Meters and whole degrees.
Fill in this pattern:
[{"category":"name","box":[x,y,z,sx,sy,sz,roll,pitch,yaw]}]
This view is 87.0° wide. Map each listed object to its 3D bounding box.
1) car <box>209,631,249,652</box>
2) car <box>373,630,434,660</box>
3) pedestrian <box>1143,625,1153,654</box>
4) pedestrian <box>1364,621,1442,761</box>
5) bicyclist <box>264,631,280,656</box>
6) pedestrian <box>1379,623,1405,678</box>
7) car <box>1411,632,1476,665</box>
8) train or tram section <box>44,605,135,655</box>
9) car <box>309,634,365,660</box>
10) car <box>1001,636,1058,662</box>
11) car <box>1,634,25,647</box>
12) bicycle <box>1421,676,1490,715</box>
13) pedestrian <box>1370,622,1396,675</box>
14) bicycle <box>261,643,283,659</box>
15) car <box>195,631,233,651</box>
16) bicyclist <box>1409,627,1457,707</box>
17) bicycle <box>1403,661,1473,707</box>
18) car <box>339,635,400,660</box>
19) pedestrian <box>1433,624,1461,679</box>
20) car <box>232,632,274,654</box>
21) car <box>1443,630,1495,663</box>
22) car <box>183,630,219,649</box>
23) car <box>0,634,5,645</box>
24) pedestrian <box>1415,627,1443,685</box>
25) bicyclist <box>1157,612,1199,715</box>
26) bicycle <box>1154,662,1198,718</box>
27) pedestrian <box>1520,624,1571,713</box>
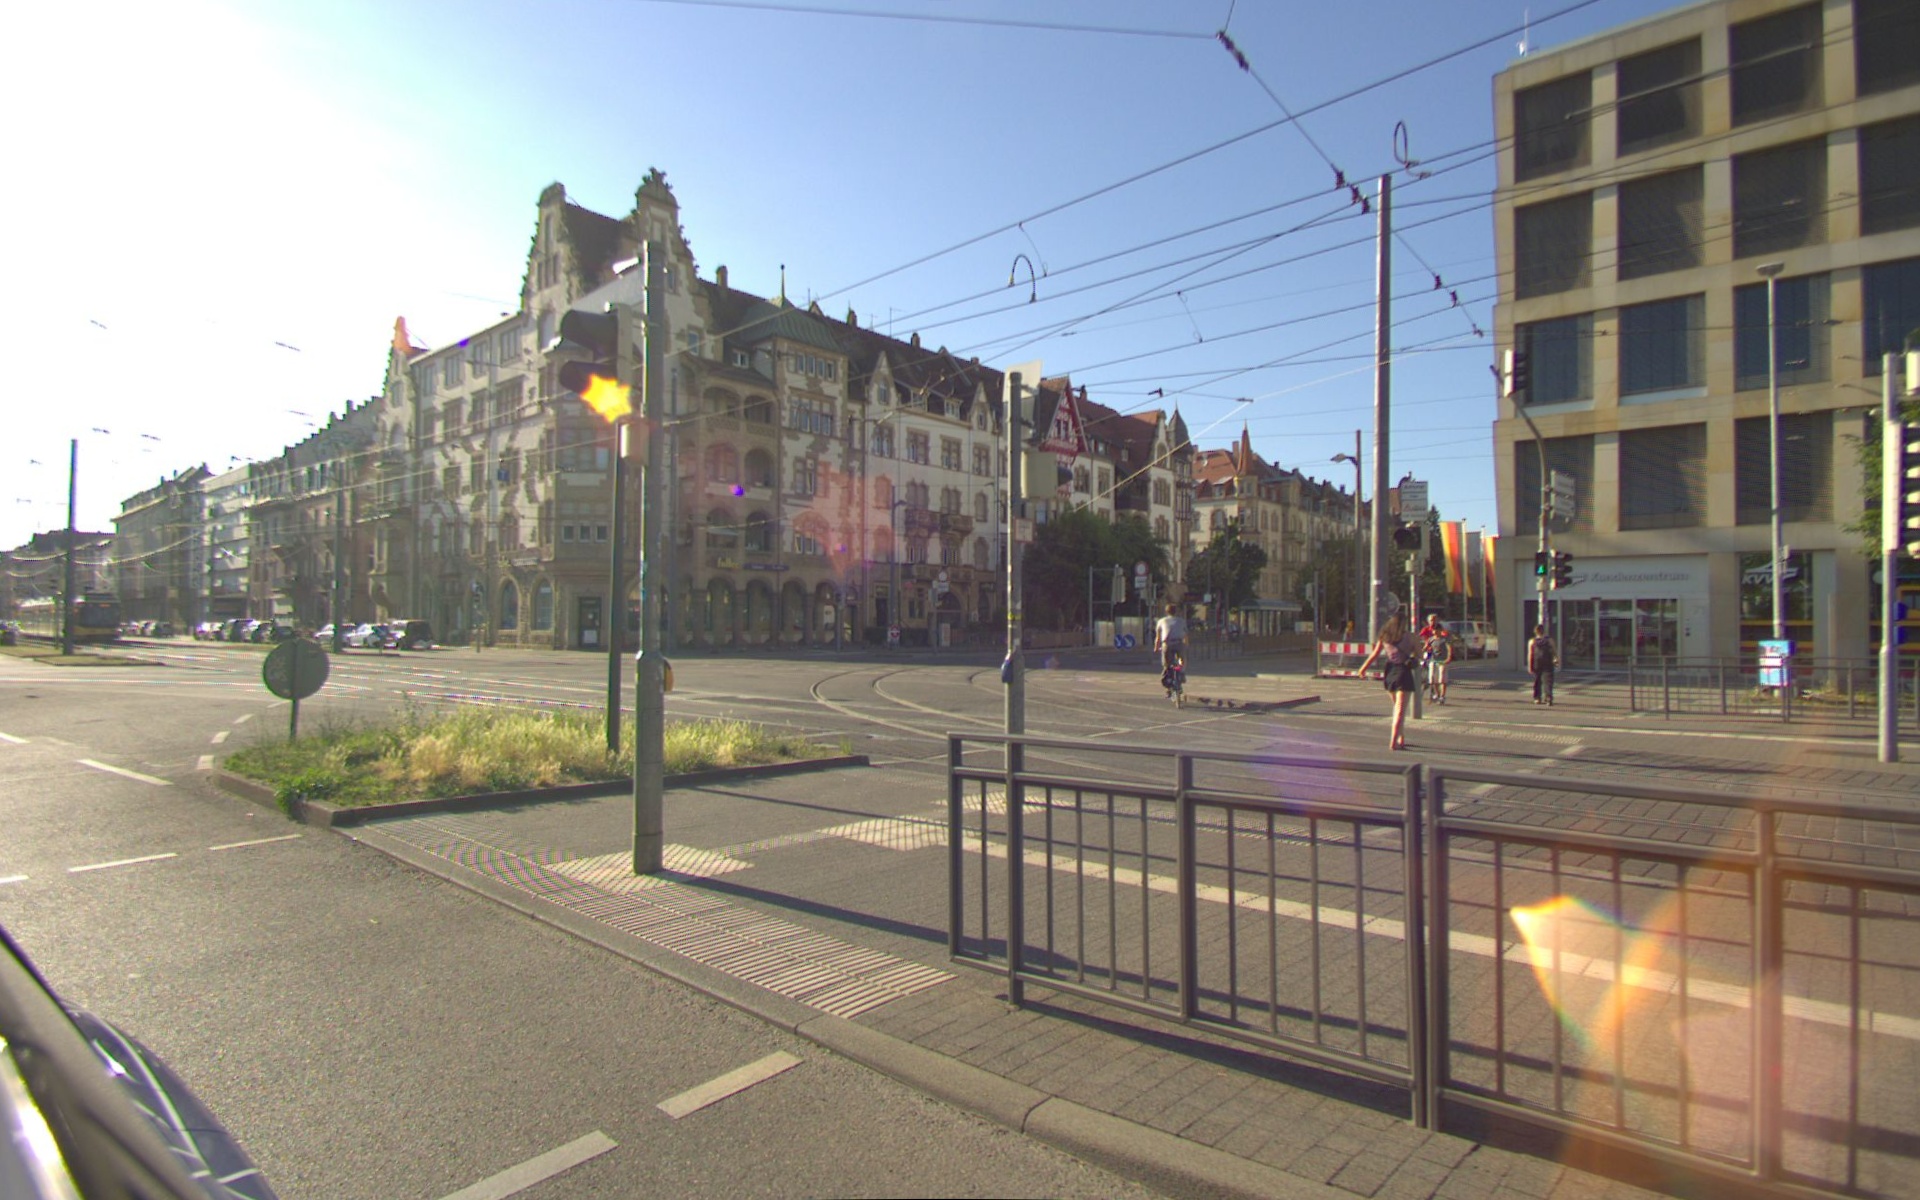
[{"category":"car","box":[-57.698,3.278,79.874,3.999,1.537,1.718,-2,-1,42]},{"category":"car","box":[-31.840,2.563,57.888,3.997,1.682,1.758,-2,-3,40]},{"category":"pedestrian","box":[11.087,2.309,59.726,0.576,1.695,0.615,0,-2,9]},{"category":"pedestrian","box":[5.503,1.094,12.545,0.793,1.657,0.924,-1,-2,28]},{"category":"bicyclist","box":[-45.019,2.861,66.214,0.630,1.631,0.675,-2,-3,39]},{"category":"pedestrian","box":[13.657,1.589,32.012,0.582,1.695,0.609,-2,-3,39]},{"category":"car","box":[22.892,2.263,47.835,1.889,1.475,3.947,-2,-3,39]},{"category":"train or tram section","box":[-66.193,2.388,76.666,19.466,3.425,2.745,-2,-2,42]},{"category":"car","box":[-39.955,2.995,64.849,3.993,1.537,1.721,-2,-1,37]},{"category":"car","box":[4.463,3.096,64.366,1.725,1.586,3.948,-2,-3,38]},{"category":"car","box":[-121.865,5.164,130.176,3.997,1.682,1.758,-2,-3,40]},{"category":"bicycle","box":[9.420,1.801,19.222,1.699,0.613,0.513,1,-1,-39]},{"category":"pedestrian","box":[13.760,1.564,32.924,0.639,1.695,0.609,-2,-3,38]},{"category":"bicycle","box":[-44.956,3.298,66.138,2.067,1.010,0.600,-2,-3,39]},{"category":"car","box":[-61.553,3.346,83.509,3.999,1.537,1.718,-2,-1,42]},{"category":"bicyclist","box":[9.845,1.377,21.055,0.620,1.631,0.685,2,-3,-40]},{"category":"bicycle","box":[10.014,1.746,21.167,1.861,0.885,0.609,2,-3,-40]},{"category":"car","box":[-35.833,2.875,61.364,4.428,1.487,1.706,-2,-3,39]},{"category":"pedestrian","box":[15.326,1.623,31.856,0.607,1.695,0.583,2,-3,-43]},{"category":"car","box":[-53.011,3.203,75.885,3.999,1.537,1.718,-2,-1,42]},{"category":"car","box":[26.334,2.387,52.311,1.648,1.674,3.602,-2,-3,39]},{"category":"car","box":[-64.942,3.404,86.617,3.999,1.537,1.718,-2,-1,42]},{"category":"car","box":[-153.633,6.289,161.160,3.997,1.682,1.758,-2,-3,40]},{"category":"pedestrian","box":[13.801,1.641,29.786,0.582,1.695,0.609,-2,-3,39]},{"category":"bicyclist","box":[3.927,1.134,18.266,0.638,1.821,0.667,0,-2,3]},{"category":"bicycle","box":[3.937,1.628,18.558,0.507,0.918,1.887,1,-2,3]},{"category":"pedestrian","box":[11.230,1.302,19.435,0.793,1.657,0.924,-1,-2,28]}]
